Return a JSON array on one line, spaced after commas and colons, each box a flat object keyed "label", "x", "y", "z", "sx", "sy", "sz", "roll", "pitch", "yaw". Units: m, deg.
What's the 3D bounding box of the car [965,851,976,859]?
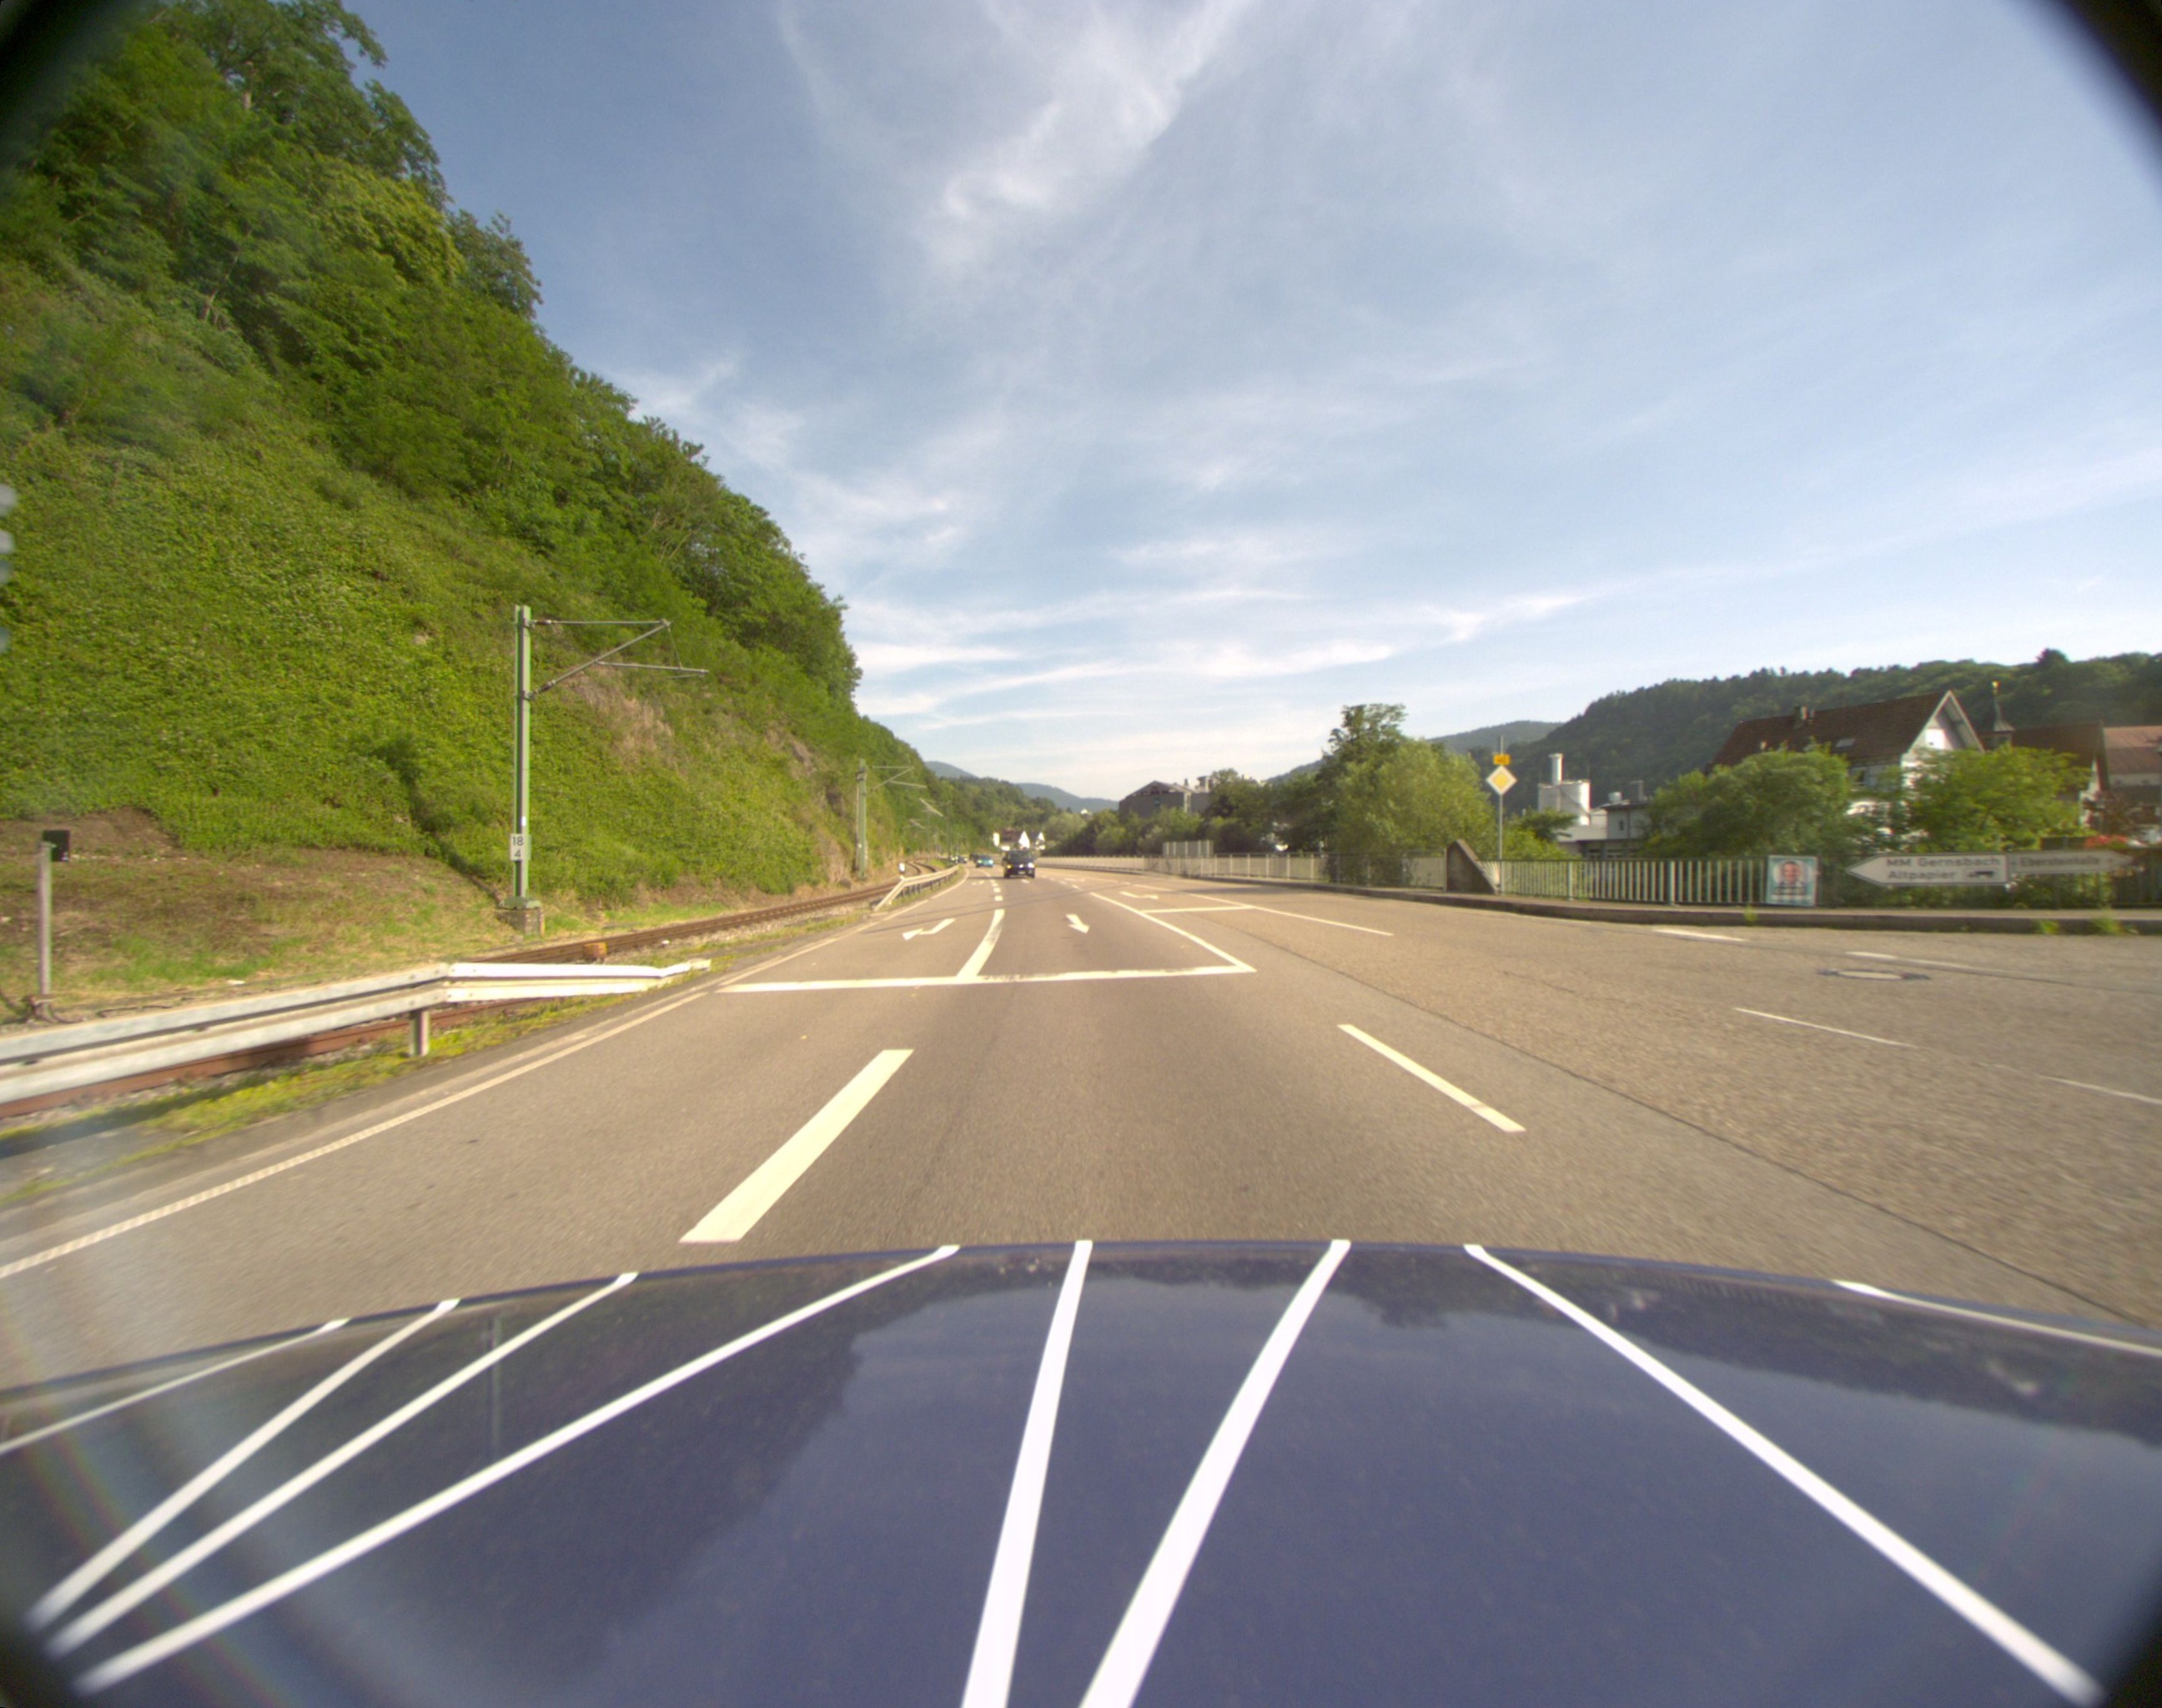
[{"label": "car", "x": -24.571, "y": 0.177, "z": 168.917, "sx": 1.798, "sy": 1.817, "sz": 4.823, "roll": -1, "pitch": 0, "yaw": -13}]

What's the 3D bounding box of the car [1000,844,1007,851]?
[{"label": "car", "x": -24.042, "y": -1.908, "z": 234.487, "sx": 2.000, "sy": 2.002, "sz": 3.997, "roll": -2, "pitch": 0, "yaw": -7}]

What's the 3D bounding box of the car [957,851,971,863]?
[{"label": "car", "x": -19.272, "y": 0.492, "z": 125.348, "sx": 2.000, "sy": 1.783, "sz": 3.996, "roll": -1, "pitch": 0, "yaw": -12}]

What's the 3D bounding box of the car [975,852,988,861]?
[{"label": "car", "x": -18.204, "y": 0.456, "z": 138.436, "sx": 1.823, "sy": 1.637, "sz": 4.606, "roll": 0, "pitch": 0, "yaw": -14}]

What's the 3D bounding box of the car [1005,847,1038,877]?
[{"label": "car", "x": -4.084, "y": 0.540, "z": 51.534, "sx": 1.910, "sy": 1.868, "sz": 4.345, "roll": -3, "pitch": 0, "yaw": -8}]

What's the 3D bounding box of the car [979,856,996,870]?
[{"label": "car", "x": -10.950, "y": 1.063, "z": 89.083, "sx": 1.769, "sy": 1.452, "sz": 3.572, "roll": 1, "pitch": 1, "yaw": -11}]
